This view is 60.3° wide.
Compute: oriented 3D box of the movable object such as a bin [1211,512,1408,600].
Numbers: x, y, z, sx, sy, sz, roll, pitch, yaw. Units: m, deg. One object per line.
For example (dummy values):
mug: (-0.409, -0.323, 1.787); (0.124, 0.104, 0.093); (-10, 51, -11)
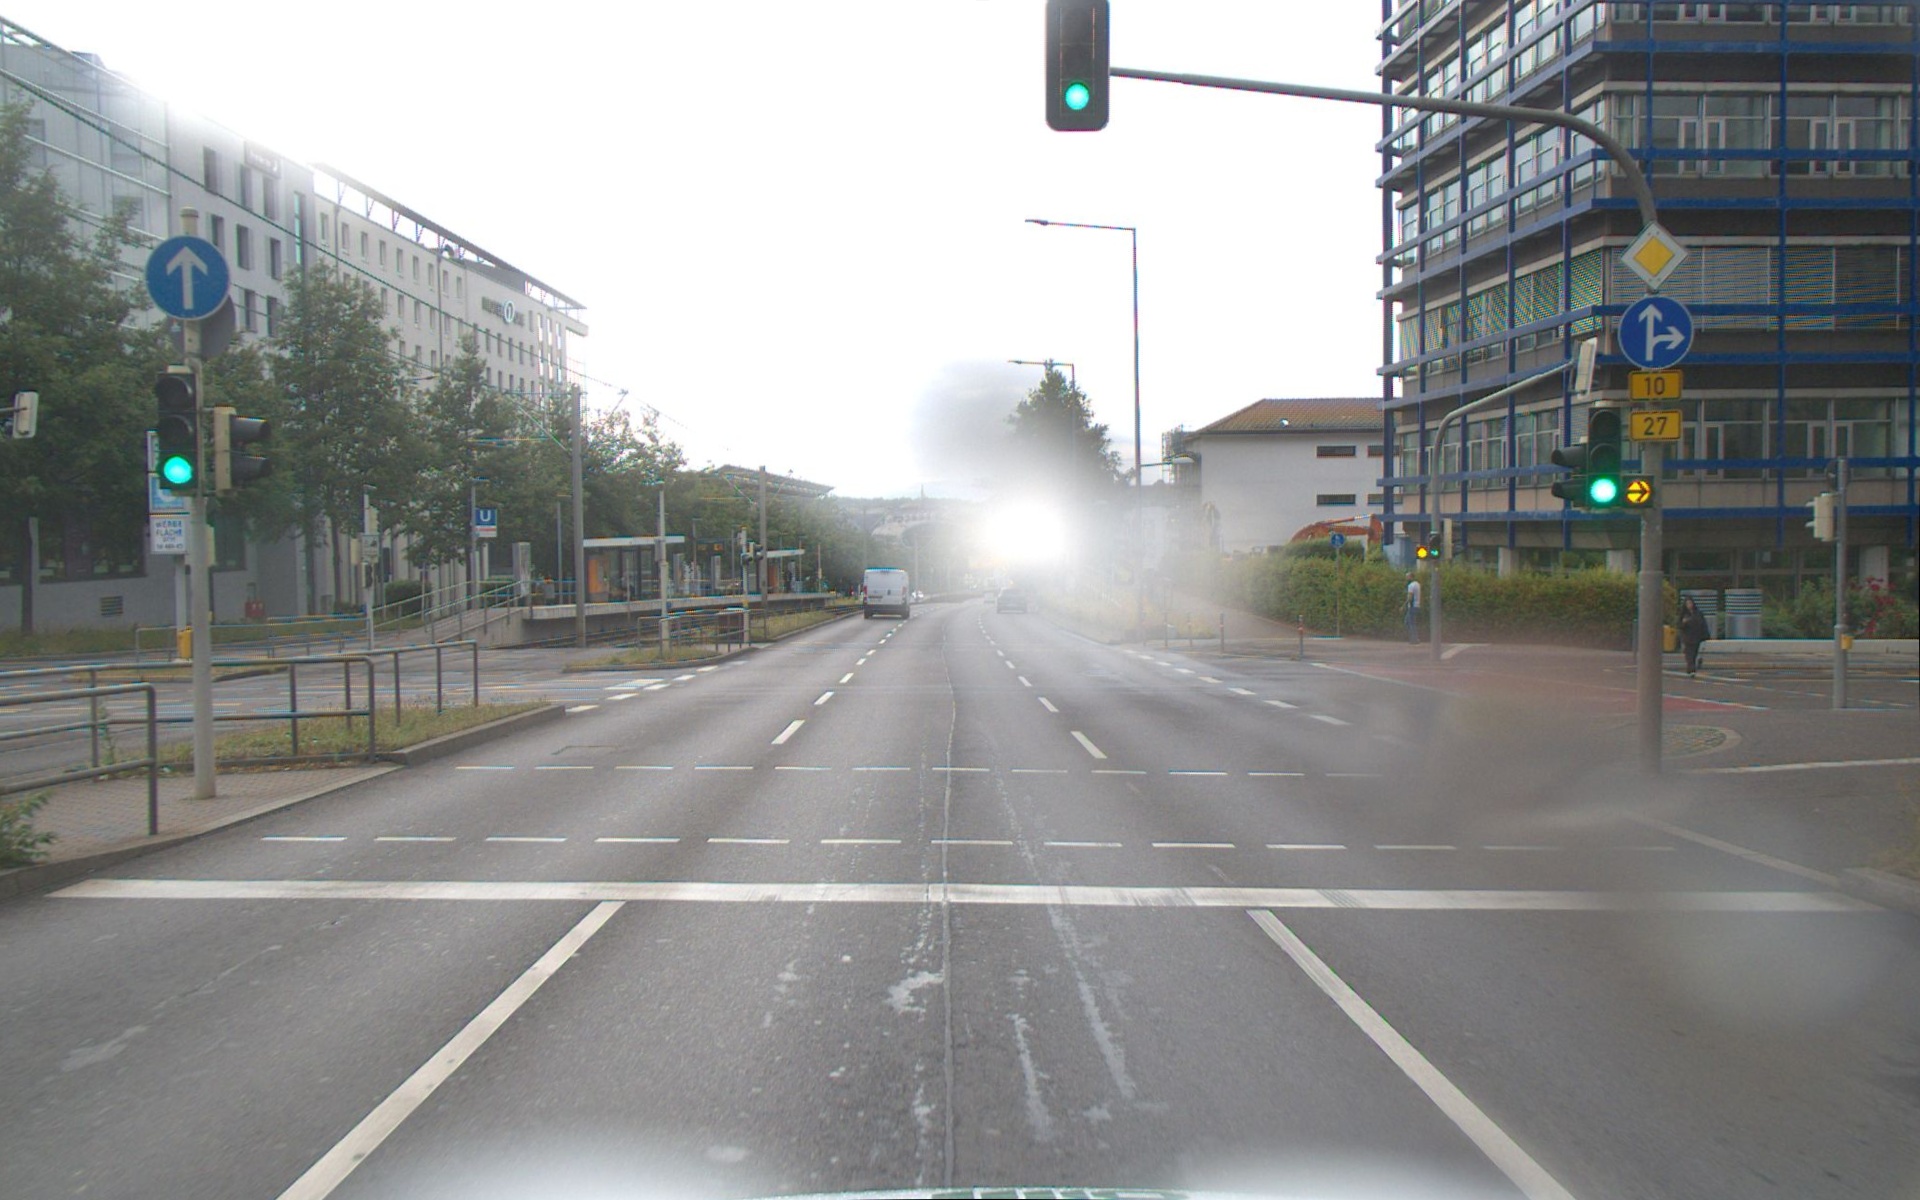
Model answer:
movable object such as a bin: (22.576, -2.803, 107.309); (11.892, 5.353, 3.789); (-1, -1, 0)

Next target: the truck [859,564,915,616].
truck: (-3.423, -0.449, 78.110); (2.312, 2.301, 5.306); (1, 0, 1)

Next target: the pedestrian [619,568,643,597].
pedestrian: (-15.074, -0.793, 75.774); (0.941, 1.322, 0.684); (-1, 0, 0)

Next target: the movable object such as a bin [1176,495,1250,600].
movable object such as a bin: (14.601, -2.920, 96.178); (3.221, 5.784, 8.766); (1, 0, 2)

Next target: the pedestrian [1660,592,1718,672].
pedestrian: (14.500, 0.627, 32.880); (0.887, 1.568, 0.796); (-1, 0, 38)

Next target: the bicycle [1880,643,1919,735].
bicycle: (9.072, 0.820, 14.541); (0.654, 0.823, 2.318); (1, 0, -1)

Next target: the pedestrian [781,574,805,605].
pedestrian: (-11.385, -0.699, 112.589); (1.239, 2.049, 1.130); (1, 0, 17)

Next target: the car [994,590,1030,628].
car: (2.958, 0.510, 93.016); (1.952, 2.049, 3.935); (1, 0, 3)

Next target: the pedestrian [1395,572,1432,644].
pedestrian: (10.819, 0.188, 39.454); (0.544, 1.681, 0.830); (-1, 0, -10)
